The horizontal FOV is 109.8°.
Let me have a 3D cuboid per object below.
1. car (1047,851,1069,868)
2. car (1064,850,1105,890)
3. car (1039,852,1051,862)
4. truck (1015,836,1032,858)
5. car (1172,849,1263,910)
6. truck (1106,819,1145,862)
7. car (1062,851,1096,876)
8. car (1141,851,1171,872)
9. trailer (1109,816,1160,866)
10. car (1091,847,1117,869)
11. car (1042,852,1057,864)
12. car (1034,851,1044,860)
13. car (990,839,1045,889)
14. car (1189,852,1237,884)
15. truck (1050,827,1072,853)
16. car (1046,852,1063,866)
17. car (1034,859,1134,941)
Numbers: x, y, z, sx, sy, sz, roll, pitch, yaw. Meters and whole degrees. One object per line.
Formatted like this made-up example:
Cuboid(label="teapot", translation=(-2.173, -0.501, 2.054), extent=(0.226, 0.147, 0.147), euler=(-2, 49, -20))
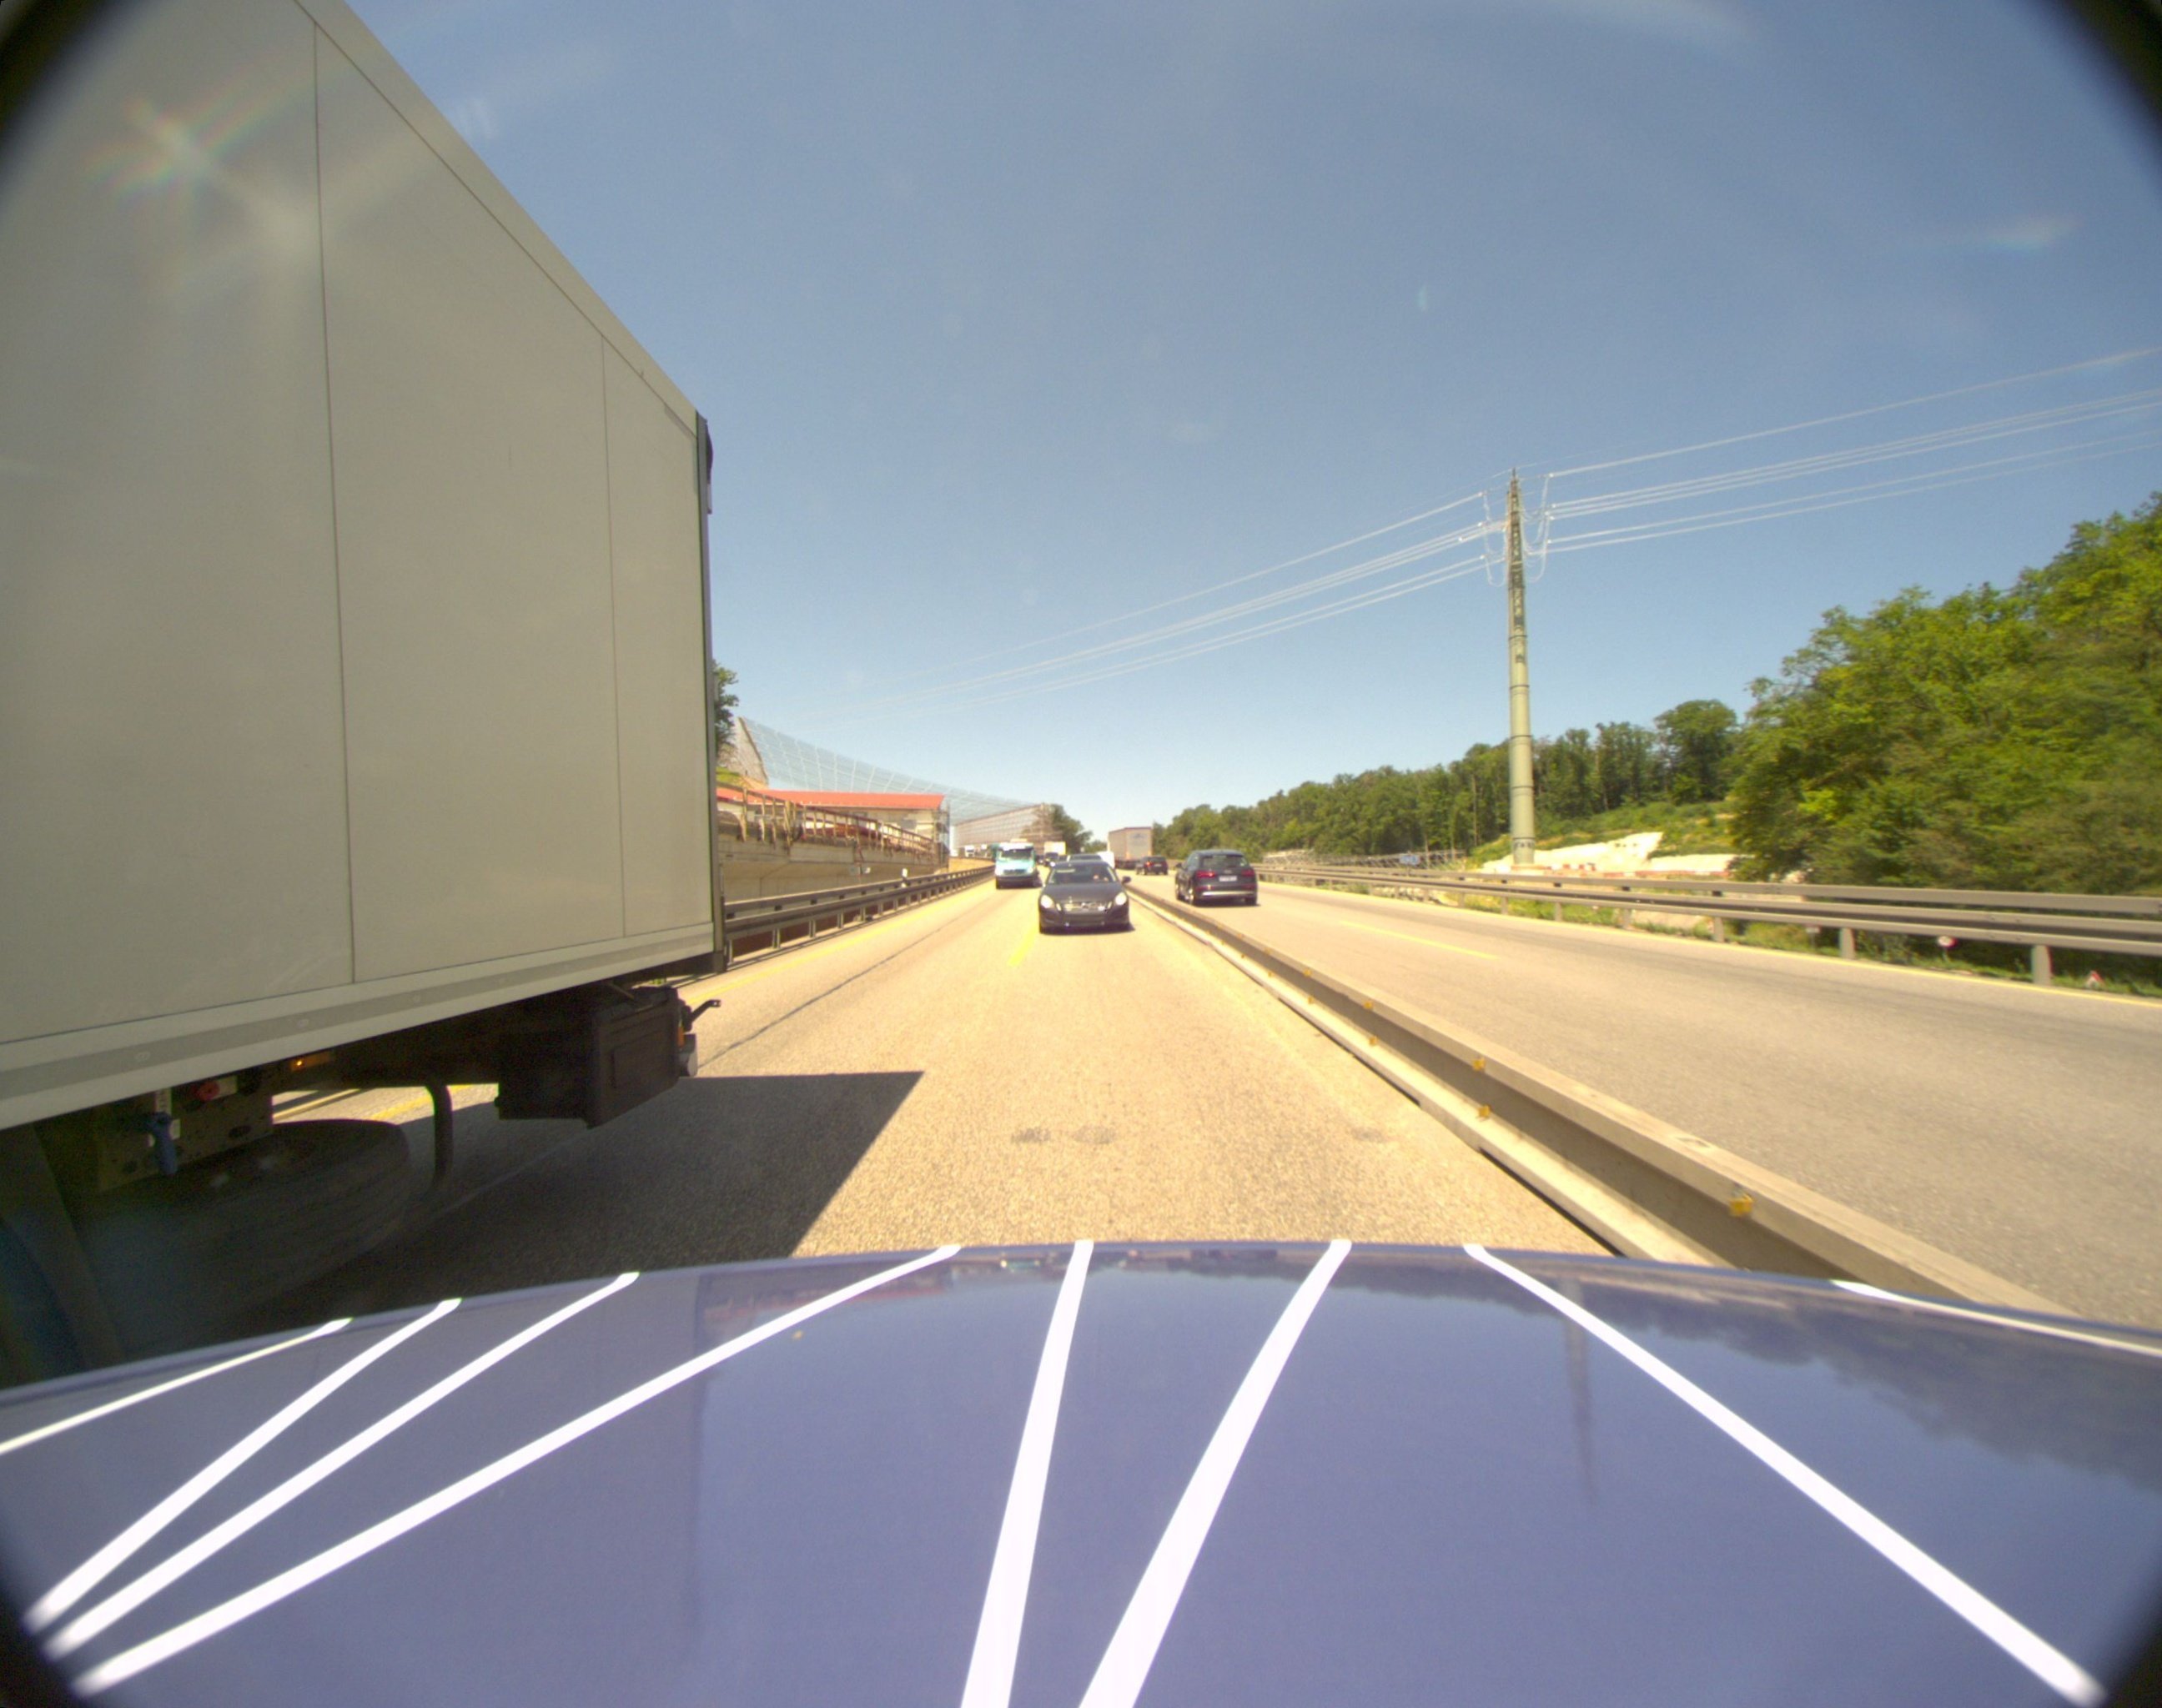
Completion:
Cuboid(label="car", translation=(-2.076, 0.479, 68.523), extent=(1.646, 1.366, 3.345), euler=(-3, 1, 4))
Cuboid(label="car", translation=(0.195, 0.657, 33.073), extent=(1.519, 1.543, 3.861), euler=(-2, 1, 3))
Cuboid(label="car", translation=(-5.280, 0.367, 111.956), extent=(1.647, 1.366, 3.344), euler=(-3, 1, -1))
Cuboid(label="truck", translation=(-9.507, -1.119, 125.005), extent=(2.471, 3.464, 9.863), euler=(-3, 1, -4))
Cuboid(label="car", translation=(4.004, 0.687, 23.033), extent=(1.922, 1.586, 4.527), euler=(-2, 1, 0))
Cuboid(label="truck", translation=(4.841, -1.428, 83.960), extent=(3.405, 4.396, 7.272), euler=(-3, 1, -3))
Cuboid(label="car", translation=(-0.177, 0.655, 54.701), extent=(2.297, 1.601, 4.664), euler=(-3, 1, -1))
Cuboid(label="car", translation=(5.532, 0.547, 56.266), extent=(1.781, 1.420, 4.302), euler=(-1, 1, 0))
Cuboid(label="trailer", translation=(5.193, -1.235, 77.028), extent=(3.498, 4.460, 12.921), euler=(-3, 1, -3))
Cuboid(label="car", translation=(1.959, 0.292, 65.180), extent=(1.865, 1.762, 4.231), euler=(-3, 1, -2))
Cuboid(label="car", translation=(-4.052, 0.481, 96.427), extent=(1.647, 1.366, 3.343), euler=(-3, 1, -5))
Cuboid(label="car", translation=(-7.362, 0.233, 132.943), extent=(1.647, 1.366, 3.343), euler=(-3, 1, -5))
Cuboid(label="car", translation=(-3.188, 0.448, 39.835), extent=(2.217, 2.312, 6.901), euler=(-2, 1, 0))
Cuboid(label="car", translation=(6.552, 0.673, 38.162), extent=(1.704, 1.484, 3.999), euler=(-1, 1, 0))
Cuboid(label="truck", translation=(-4.376, -2.916, 163.576), extent=(3.567, 5.334, 16.083), euler=(-3, 1, -5))
Cuboid(label="car", translation=(-2.811, 0.498, 80.723), extent=(1.647, 1.366, 3.343), euler=(-3, 1, -3))
Cuboid(label="car", translation=(0.073, 0.887, 16.641), extent=(1.844, 1.475, 4.563), euler=(-2, 0, 0))
